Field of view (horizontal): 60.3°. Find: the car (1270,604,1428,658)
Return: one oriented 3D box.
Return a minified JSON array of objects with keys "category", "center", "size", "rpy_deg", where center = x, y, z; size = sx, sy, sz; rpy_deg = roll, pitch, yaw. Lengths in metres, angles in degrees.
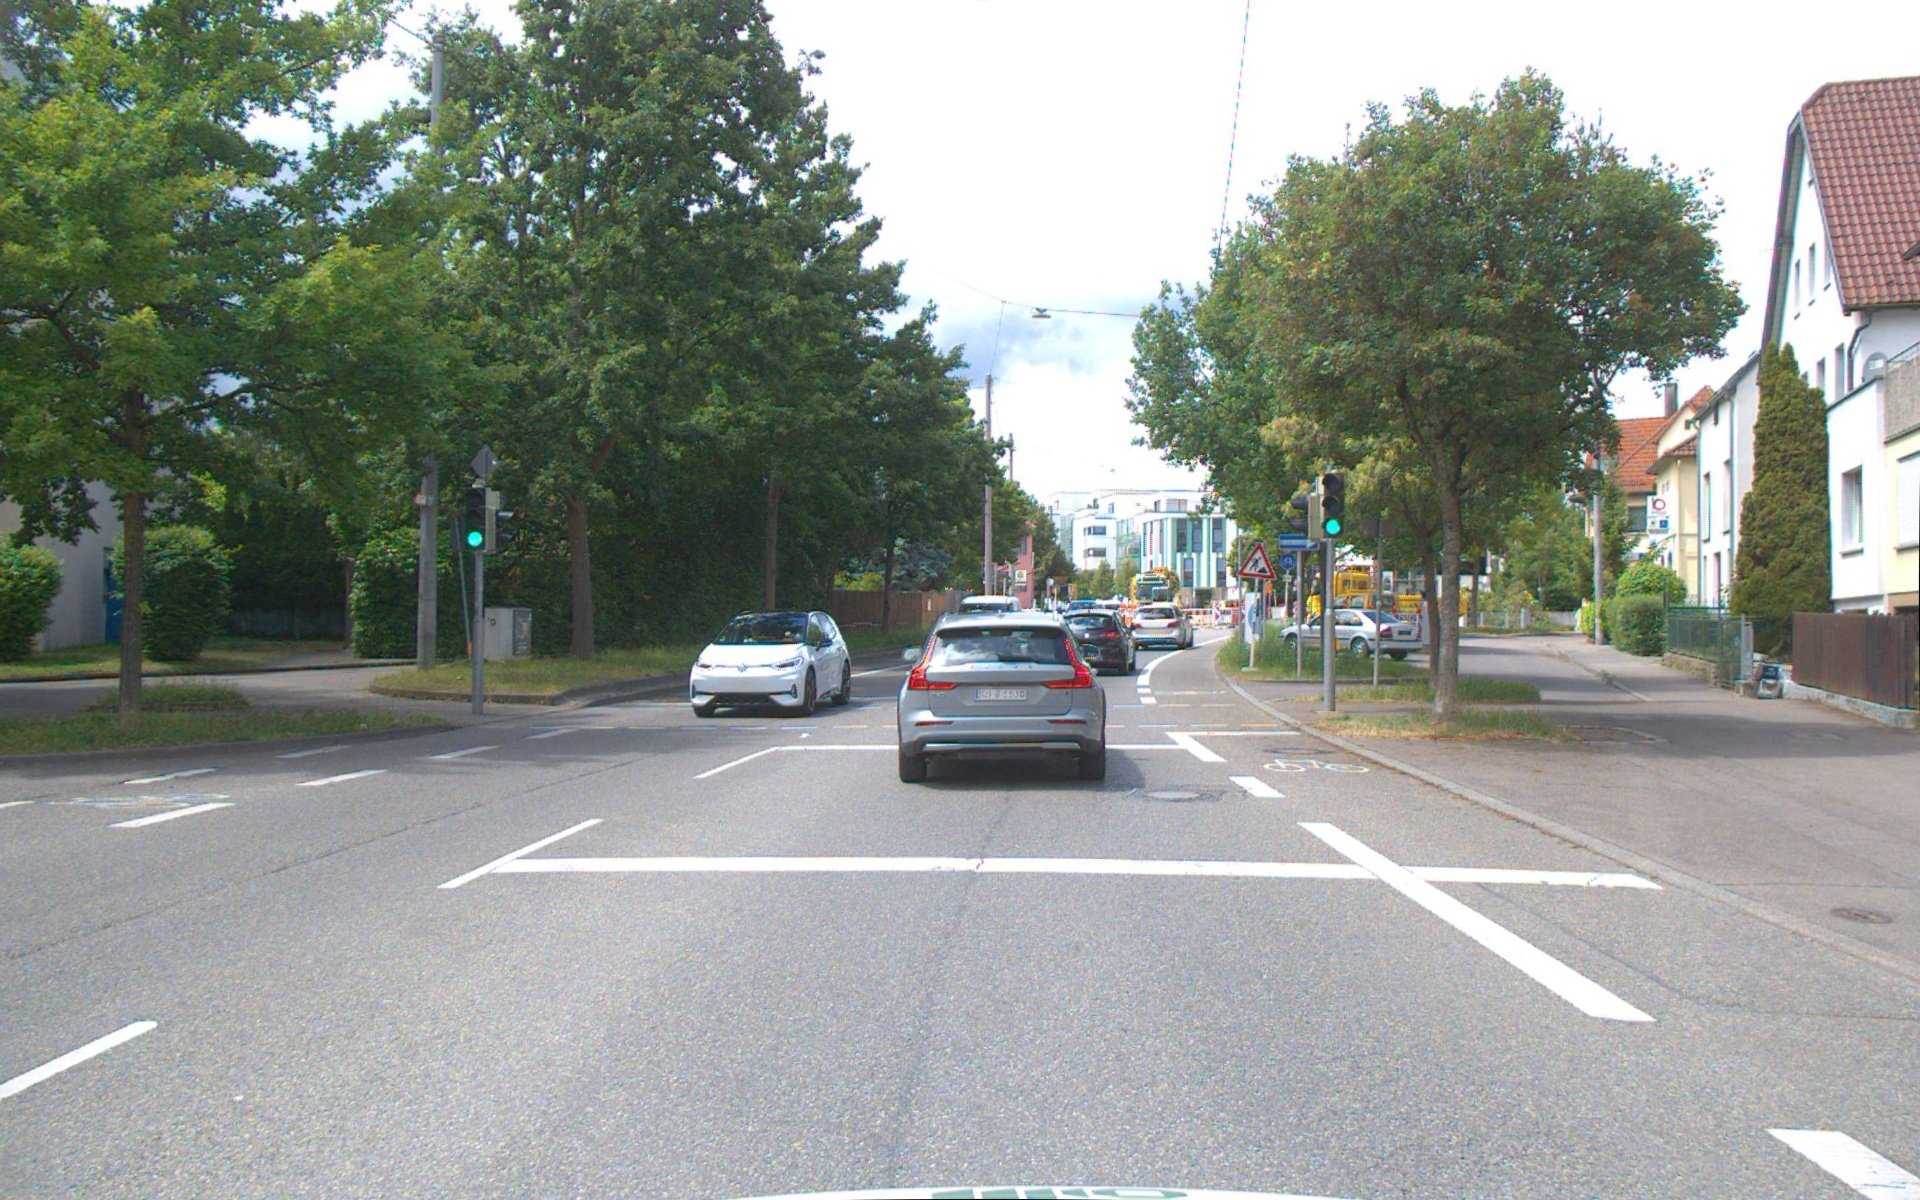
[{"category":"car","center":[11.503,0.891,49.226],"size":[1.747,1.477,4.634],"rpy_deg":[1,0,-34]}]

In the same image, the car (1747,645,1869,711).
[{"category":"car","center":[16.435,1.491,32.207],"size":[1.431,1.144,3.873],"rpy_deg":[2,-1,17]}]

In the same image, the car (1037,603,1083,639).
[{"category":"car","center":[5.001,1.045,82.631],"size":[1.840,1.717,4.250],"rpy_deg":[-1,-1,9]}]

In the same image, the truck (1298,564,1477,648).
[{"category":"truck","center":[16.887,0.209,65.681],"size":[2.739,3.061,6.621],"rpy_deg":[4,-1,-36]}]

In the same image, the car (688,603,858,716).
[{"category":"car","center":[-2.816,0.898,25.763],"size":[1.859,1.607,4.002],"rpy_deg":[-1,-1,5]}]

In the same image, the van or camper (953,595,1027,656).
[{"category":"van or camper","center":[0.972,0.755,51.285],"size":[1.821,1.807,4.383],"rpy_deg":[0,0,7]}]

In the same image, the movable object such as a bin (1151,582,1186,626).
[{"category":"movable object such as a bin","center":[13.158,0.249,104.219],"size":[1.991,2.689,5.944],"rpy_deg":[0,0,9]}]

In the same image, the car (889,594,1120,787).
[{"category":"car","center":[0.463,0.762,15.530],"size":[1.888,1.567,4.001],"rpy_deg":[0,-1,3]}]

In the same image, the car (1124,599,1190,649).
[{"category":"car","center":[6.634,0.818,55.421],"size":[2.057,1.536,4.003],"rpy_deg":[3,-1,8]}]

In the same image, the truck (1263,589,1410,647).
[{"category":"truck","center":[14.490,0.670,63.947],"size":[1.978,2.049,5.604],"rpy_deg":[4,-1,-36]}]

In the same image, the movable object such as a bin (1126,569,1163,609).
[{"category":"movable object such as a bin","center":[14.209,-0.822,127.514],"size":[2.263,3.042,6.427],"rpy_deg":[0,0,1]}]
